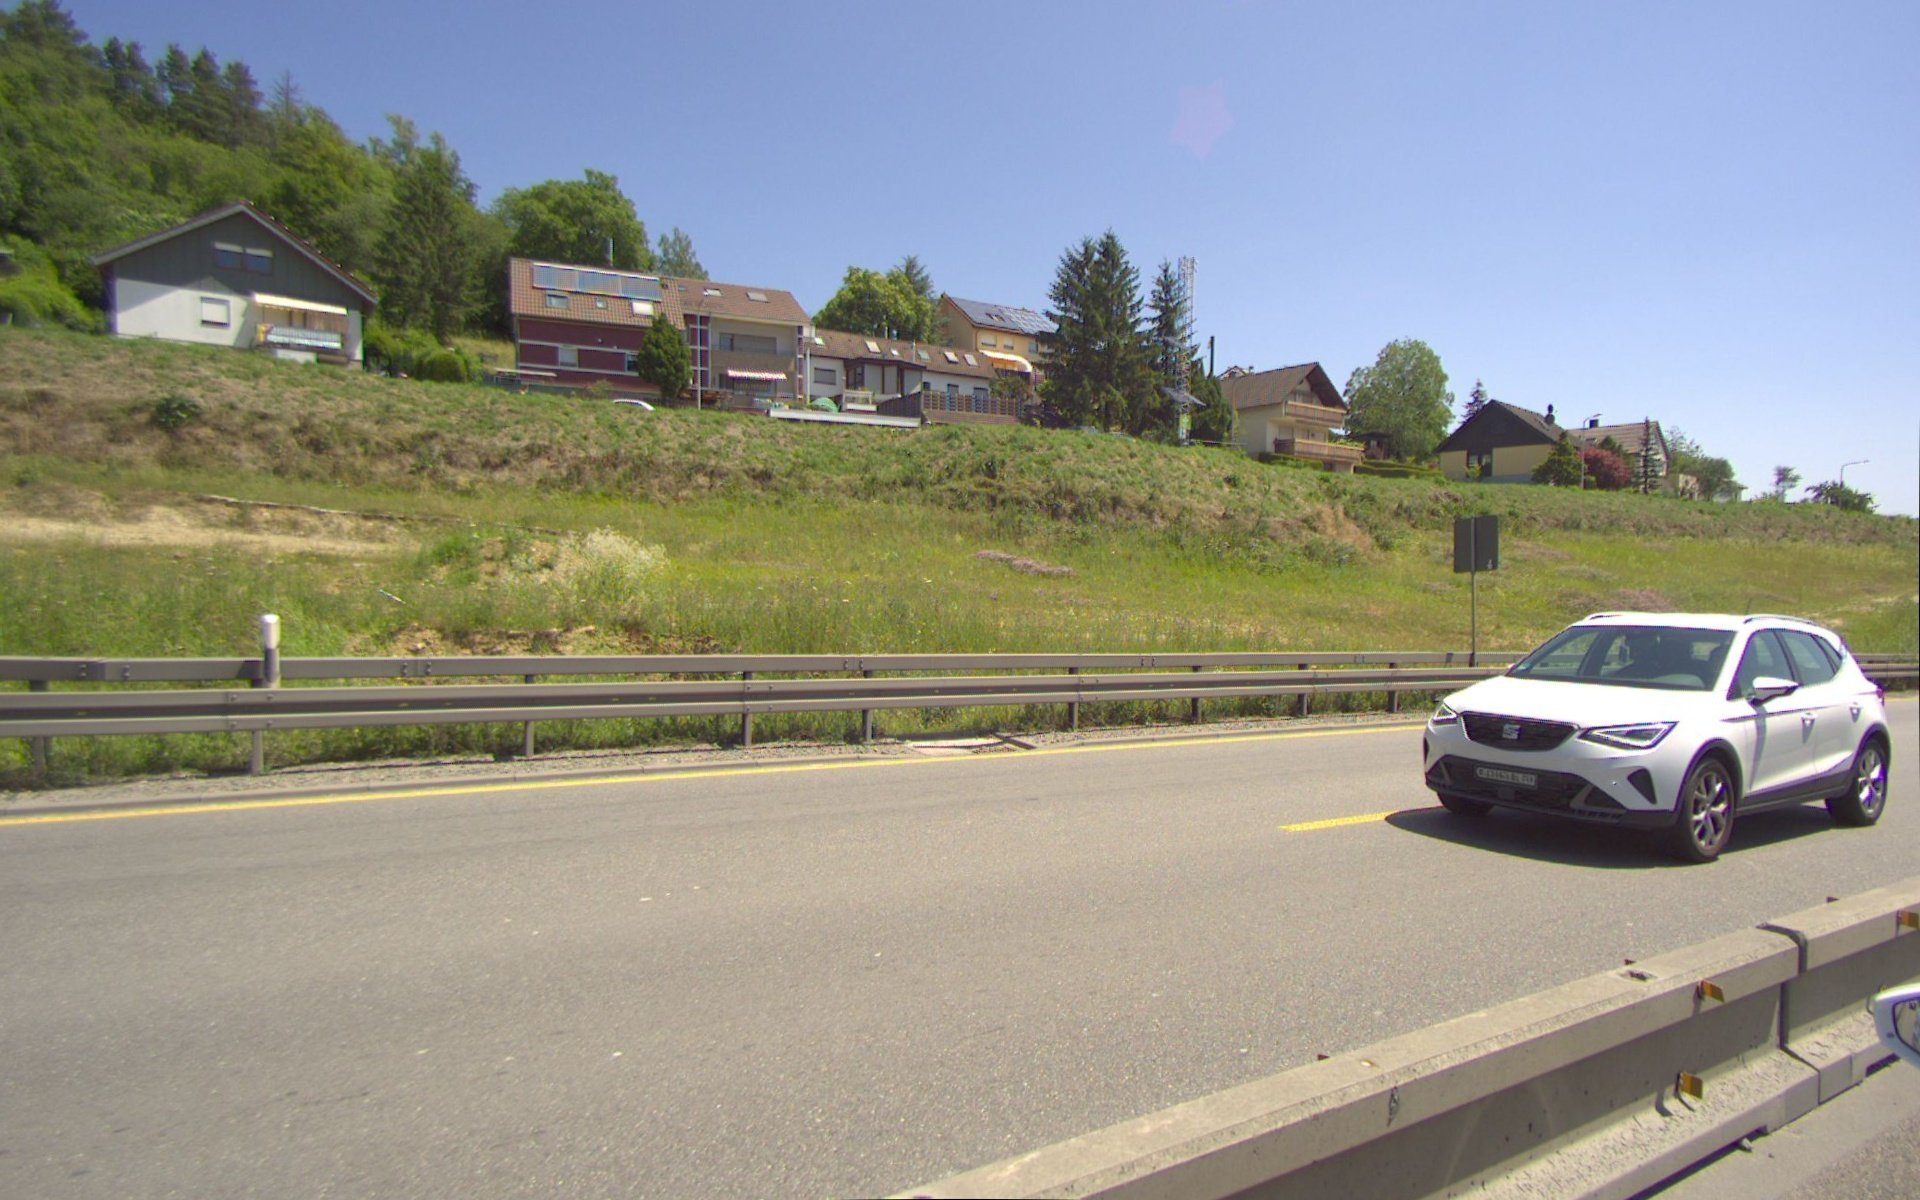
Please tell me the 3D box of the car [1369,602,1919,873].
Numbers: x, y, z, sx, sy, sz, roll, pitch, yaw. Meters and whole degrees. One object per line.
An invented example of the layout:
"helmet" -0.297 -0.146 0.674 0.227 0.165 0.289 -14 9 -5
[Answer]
"car" 5.234 0.825 7.486 4.487 1.496 1.665 2 0 -30
